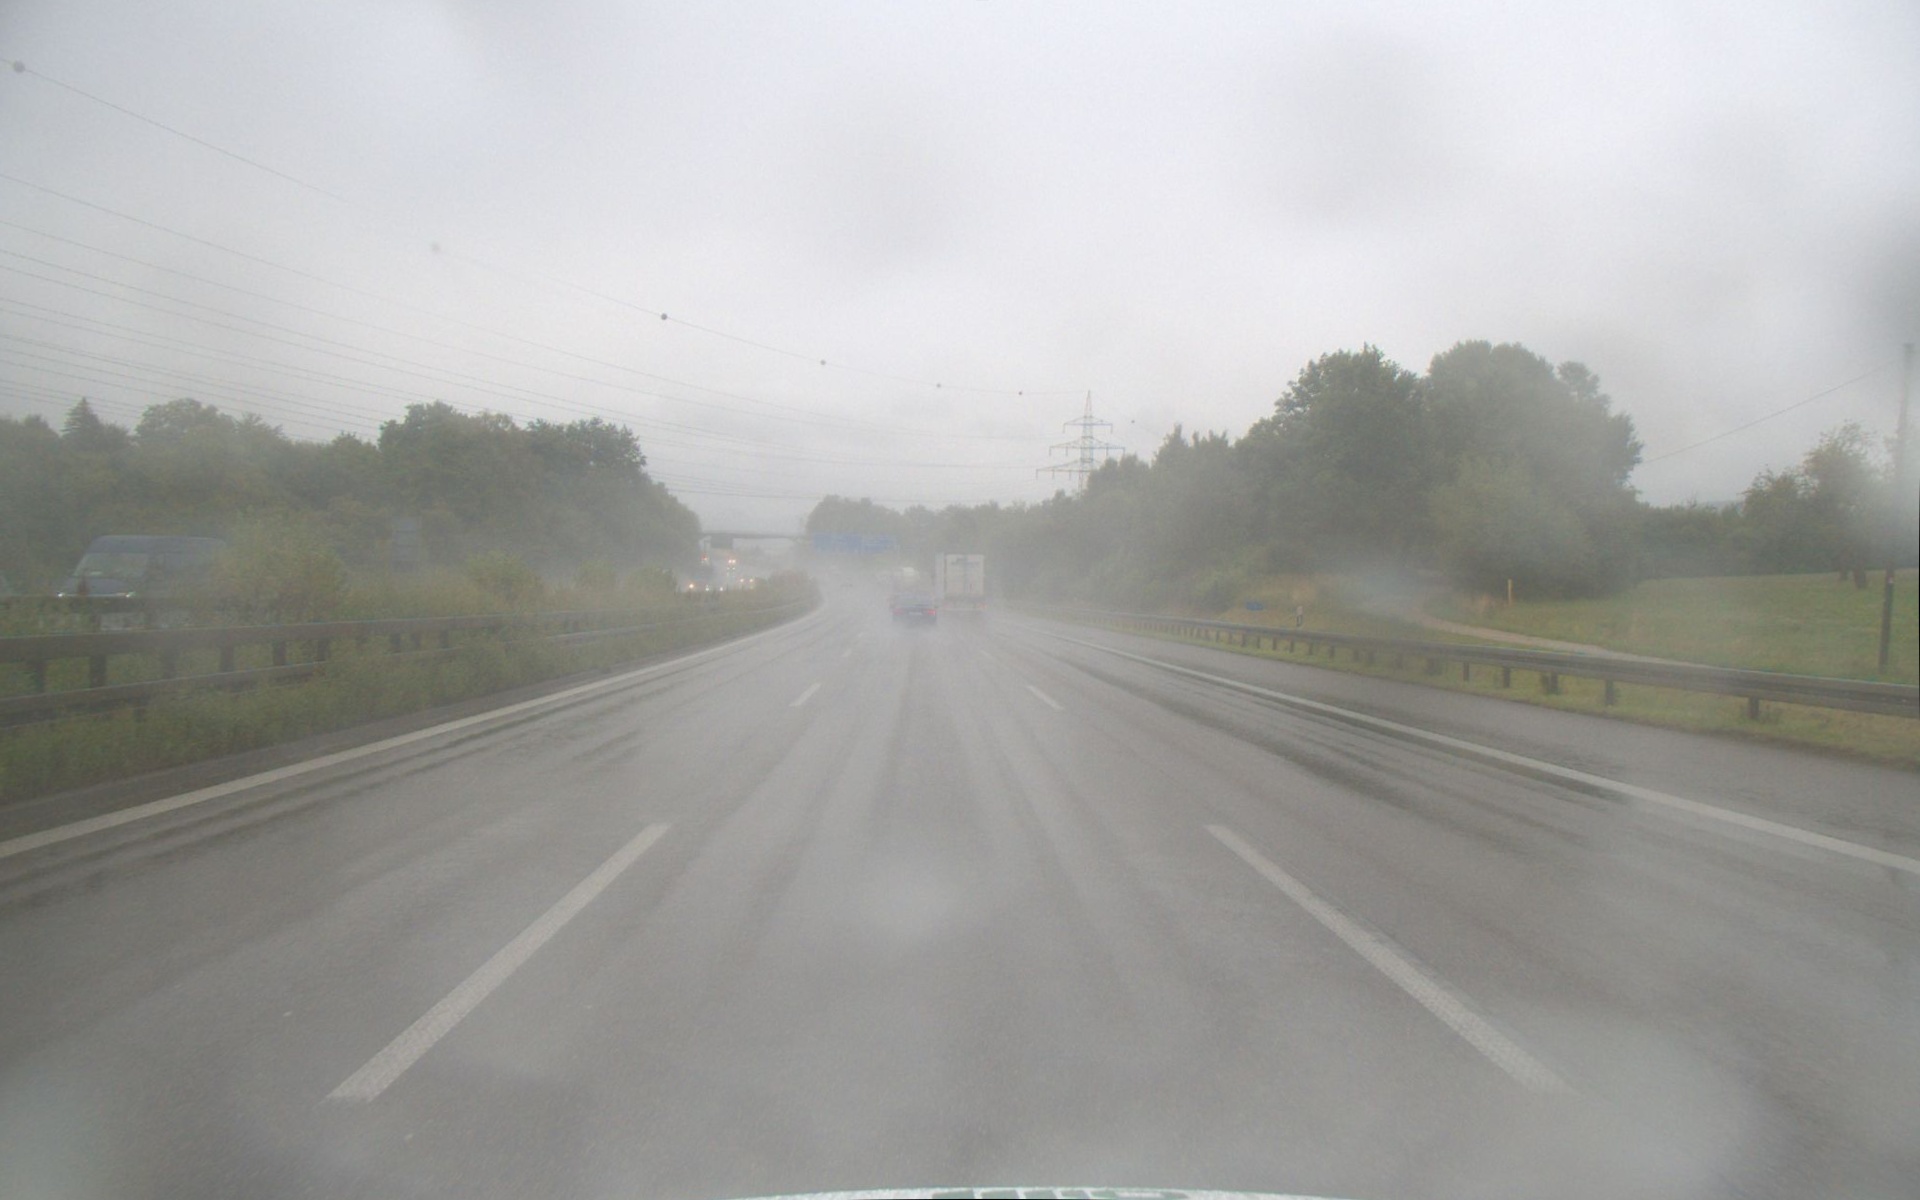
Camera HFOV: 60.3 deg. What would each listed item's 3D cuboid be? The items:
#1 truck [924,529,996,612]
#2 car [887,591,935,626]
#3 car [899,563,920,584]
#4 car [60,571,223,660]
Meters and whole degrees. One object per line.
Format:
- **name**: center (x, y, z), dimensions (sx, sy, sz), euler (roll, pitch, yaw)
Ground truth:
- **truck**: center (0.201, -1.935, 110.493), dimensions (4.168, 5.059, 17.346), euler (0, 1, 2)
- **car**: center (-1.908, 0.331, 65.408), dimensions (1.713, 1.233, 4.000), euler (3, 0, 0)
- **car**: center (-6.003, -3.136, 196.343), dimensions (2.346, 2.312, 4.999), euler (2, 1, -3)
- **car**: center (-21.191, 0.363, 43.076), dimensions (1.783, 2.048, 4.835), euler (4, 0, -1)
